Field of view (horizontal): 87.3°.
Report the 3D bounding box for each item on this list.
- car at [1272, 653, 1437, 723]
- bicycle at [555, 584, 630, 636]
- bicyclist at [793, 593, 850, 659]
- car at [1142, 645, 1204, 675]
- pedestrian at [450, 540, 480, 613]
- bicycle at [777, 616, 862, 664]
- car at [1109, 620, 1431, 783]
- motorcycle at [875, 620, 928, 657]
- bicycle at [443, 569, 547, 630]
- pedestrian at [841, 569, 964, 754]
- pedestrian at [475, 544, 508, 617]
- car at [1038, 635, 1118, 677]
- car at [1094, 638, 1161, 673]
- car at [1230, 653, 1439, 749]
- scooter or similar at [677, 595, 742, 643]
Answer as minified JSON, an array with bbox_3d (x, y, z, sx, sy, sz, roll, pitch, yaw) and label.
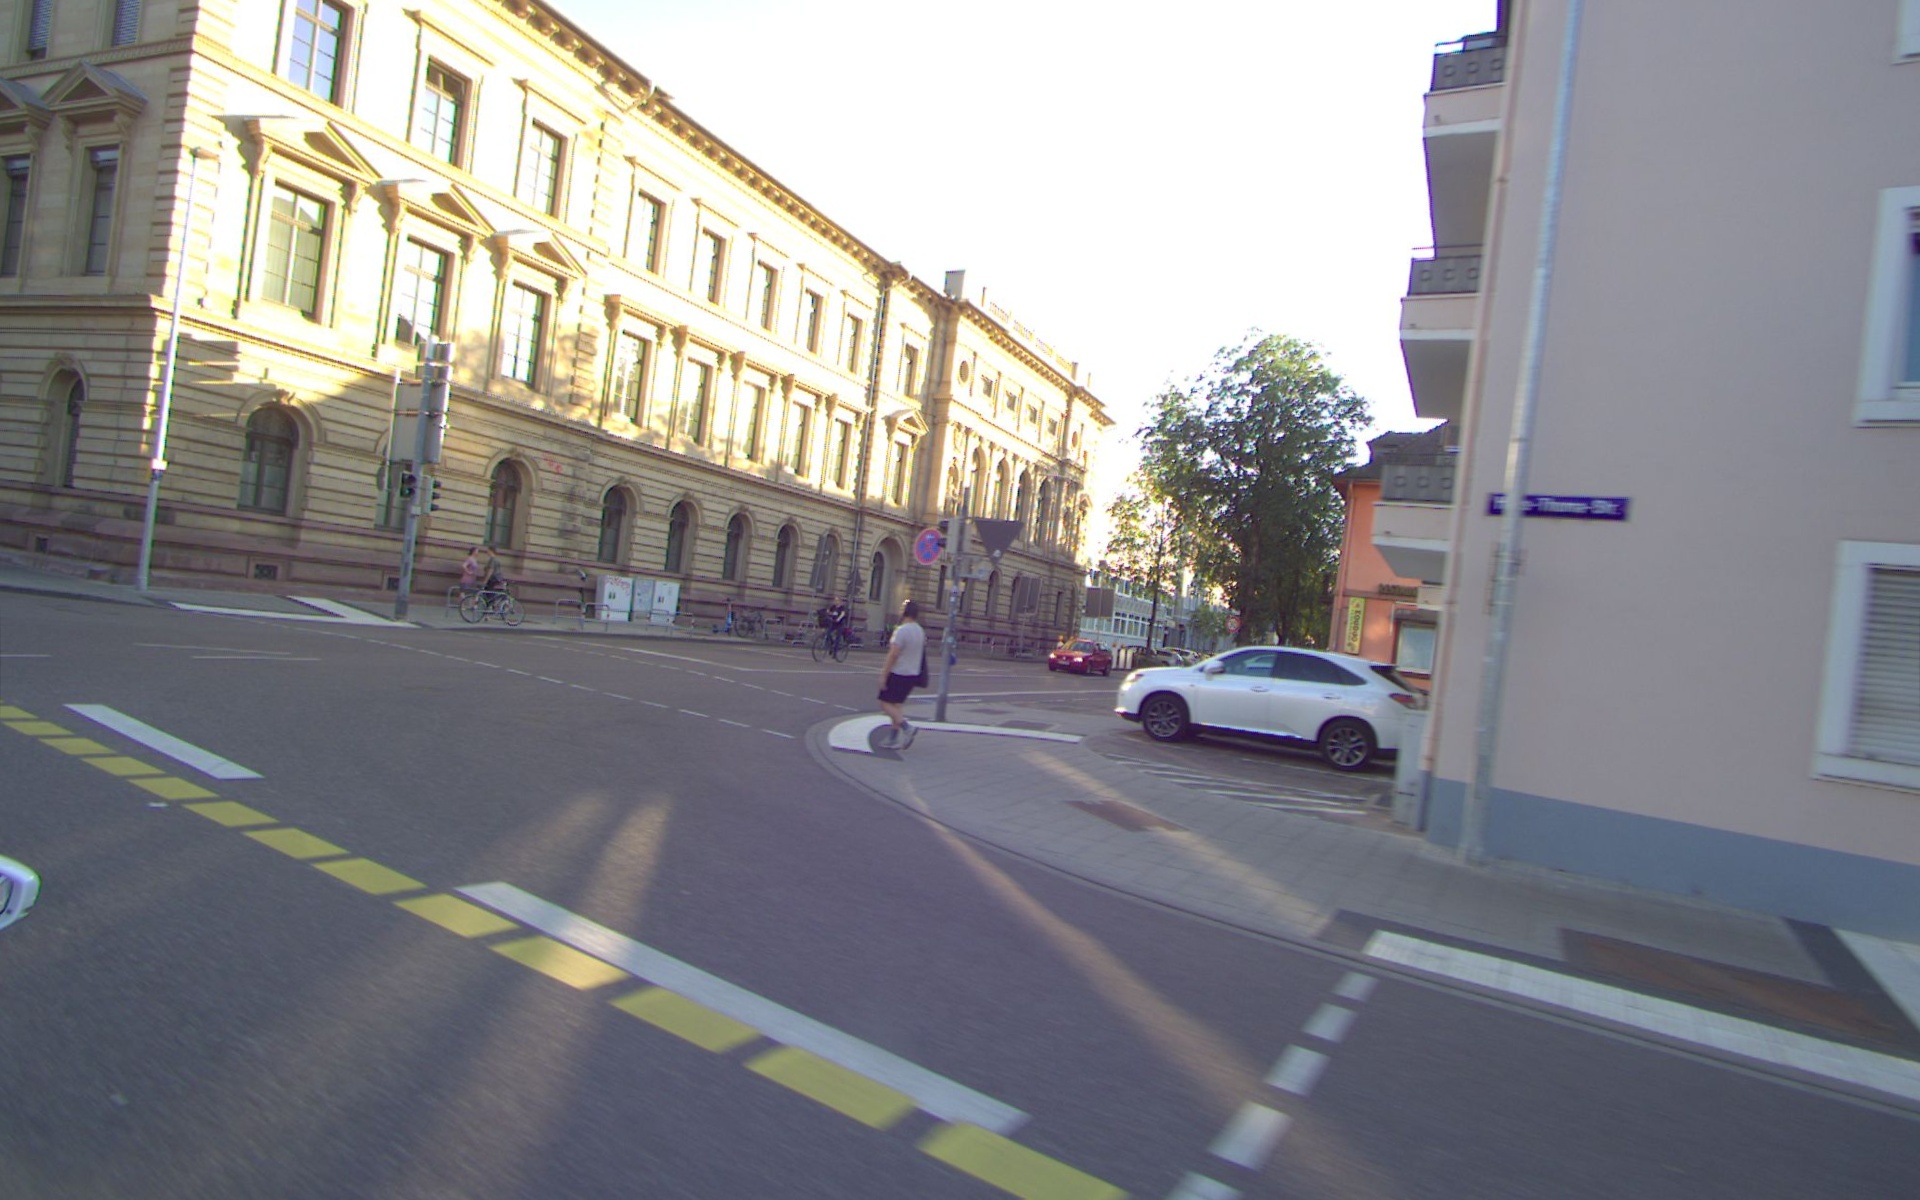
[{"bbox_3d":[12.170,2.692,31.056,4.444,1.615,2.010,5,-2,28],"label":"car"},{"bbox_3d":[-9.798,0.284,26.880,0.684,1.158,1.726,10,1,29],"label":"bicycle"},{"bbox_3d":[-3.822,0.729,27.772,0.952,1.652,1.045,7,0,26],"label":"bicyclist"},{"bbox_3d":[16.131,4.542,76.240,4.092,1.704,1.998,7,0,28],"label":"car"},{"bbox_3d":[-13.158,-0.623,26.732,0.420,1.880,0.449,7,0,-10],"label":"pedestrian"},{"bbox_3d":[-3.851,1.142,27.852,0.959,1.118,2.583,7,-1,25],"label":"bicycle"},{"bbox_3d":[4.859,1.499,15.836,4.398,1.771,1.998,7,-1,28],"label":"car"},{"bbox_3d":[-2.383,1.542,40.704,0.877,1.218,2.289,7,0,-38],"label":"motorcycle"},{"bbox_3d":[-11.229,0.006,24.379,0.847,1.222,2.054,10,1,29],"label":"bicycle"},{"bbox_3d":[-0.688,0.724,11.953,0.782,2.038,0.982,7,0,-43],"label":"pedestrian"},{"bbox_3d":[-12.587,-0.526,27.001,0.530,1.880,0.616,7,0,-33],"label":"pedestrian"},{"bbox_3d":[5.014,2.362,42.200,1.977,1.529,4.013,5,-1,27],"label":"car"},{"bbox_3d":[10.732,3.542,64.361,3.659,1.726,1.882,7,-1,30],"label":"car"},{"bbox_3d":[8.246,2.161,22.141,3.986,1.565,2.010,5,-2,28],"label":"car"},{"bbox_3d":[-8.297,0.615,33.318,1.879,1.343,0.922,7,0,32],"label":"scooter or similar"}]
